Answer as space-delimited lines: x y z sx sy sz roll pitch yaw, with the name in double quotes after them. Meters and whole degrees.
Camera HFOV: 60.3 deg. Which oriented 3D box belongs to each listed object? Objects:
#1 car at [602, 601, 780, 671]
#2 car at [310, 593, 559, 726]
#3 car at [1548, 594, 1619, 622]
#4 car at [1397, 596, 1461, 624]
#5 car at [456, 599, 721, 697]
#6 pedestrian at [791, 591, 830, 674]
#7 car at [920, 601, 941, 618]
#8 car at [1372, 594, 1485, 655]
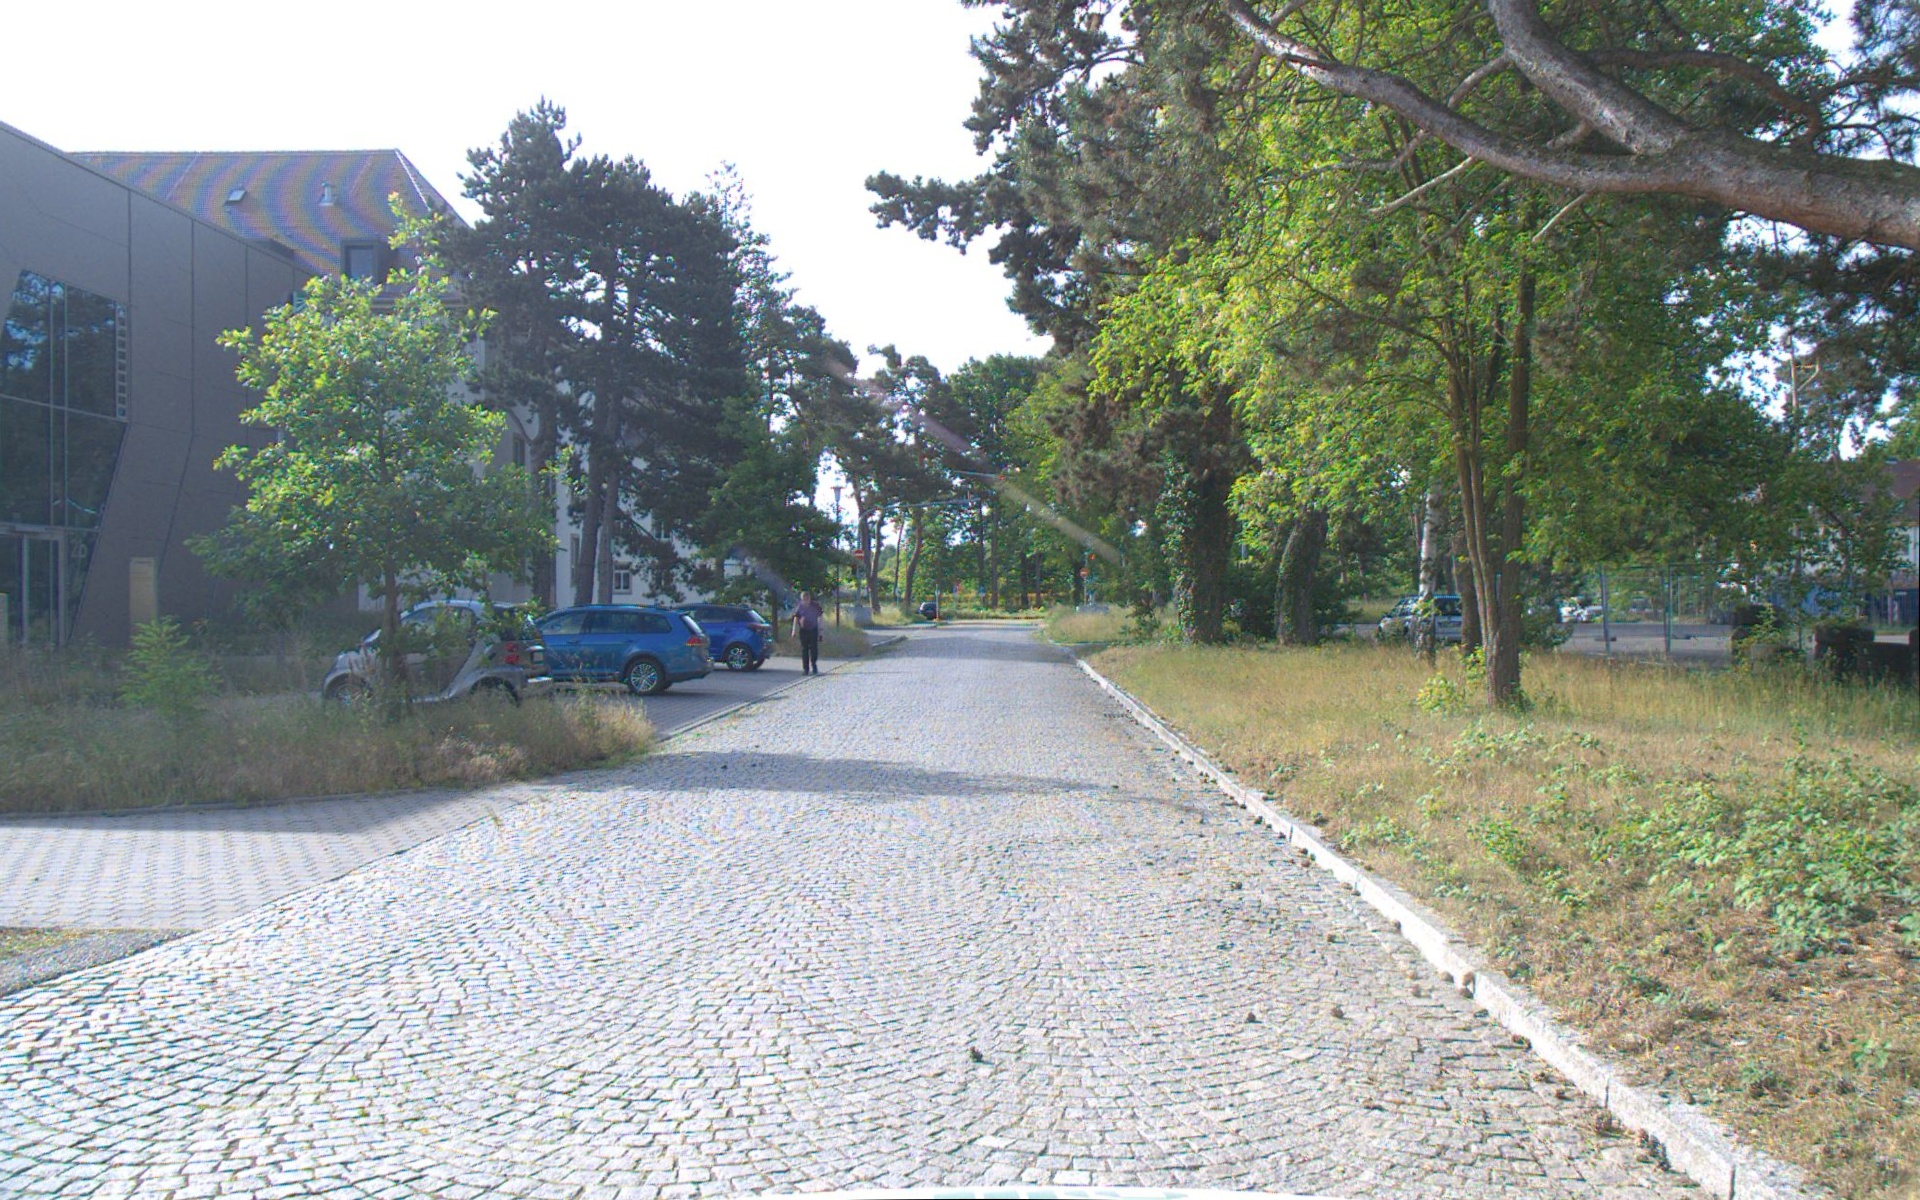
-6.146 0.819 38.050 3.756 1.489 1.720 1 0 1 "car"
-6.662 0.738 21.142 2.643 1.569 1.519 1 0 0 "car"
30.376 0.385 80.711 1.696 1.335 4.330 -1 0 -2 "car"
22.637 0.463 79.971 1.696 1.335 4.330 0 0 -2 "car"
-6.330 0.809 28.493 4.170 1.489 1.681 1 1 -1 "car"
-3.312 0.714 36.733 0.788 1.803 1.152 0 0 -3 "pedestrian"
-2.592 0.822 144.267 1.807 1.512 3.999 0 0 -1 "car"
11.973 0.599 42.539 1.634 1.493 3.998 -1 0 -2 "car"
